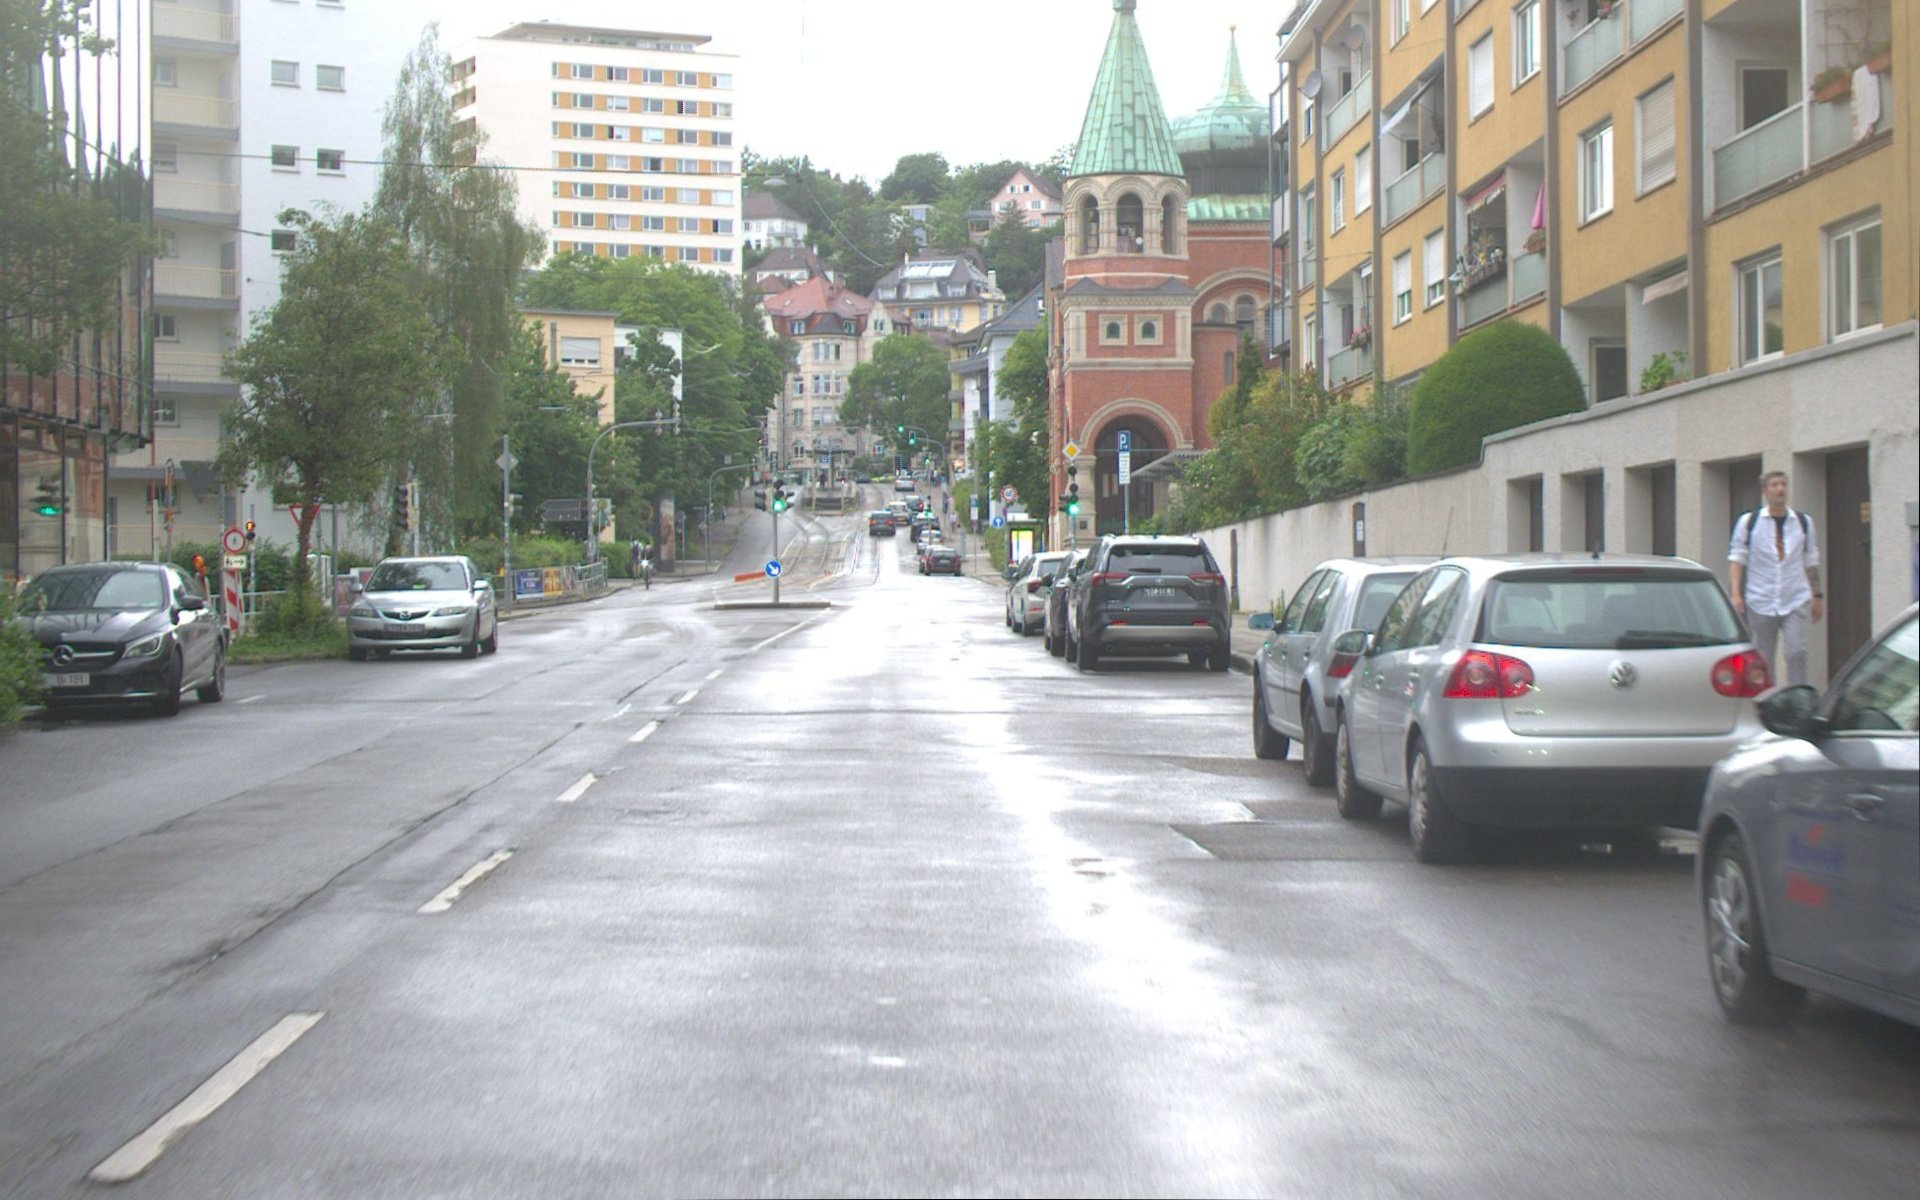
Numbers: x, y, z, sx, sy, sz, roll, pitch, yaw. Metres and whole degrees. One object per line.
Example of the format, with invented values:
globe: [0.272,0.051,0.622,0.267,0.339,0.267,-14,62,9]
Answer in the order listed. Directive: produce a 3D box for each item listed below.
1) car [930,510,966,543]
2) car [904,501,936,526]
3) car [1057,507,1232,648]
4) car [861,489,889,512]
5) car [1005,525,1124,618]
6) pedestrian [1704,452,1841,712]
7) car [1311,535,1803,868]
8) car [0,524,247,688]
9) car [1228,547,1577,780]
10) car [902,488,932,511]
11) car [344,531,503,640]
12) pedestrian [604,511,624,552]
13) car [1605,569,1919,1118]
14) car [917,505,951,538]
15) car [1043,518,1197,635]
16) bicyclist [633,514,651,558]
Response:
car: [-0.607,-3.815,177.810,1.732,1.648,4.000,0,2,2]
car: [-2.485,-5.390,214.257,1.892,1.505,4.001,1,1,-2]
car: [2.258,-0.324,43.064,1.817,1.647,4.076,1,1,-2]
car: [-5.903,-6.896,238.836,1.908,1.505,4.001,1,1,-2]
car: [1.809,-0.527,60.481,1.817,1.517,4.076,1,1,-2]
pedestrian: [5.587,-0.130,23.622,0.766,1.726,0.743,-1,3,22]
car: [2.903,0.420,17.508,1.663,1.497,3.922,0,1,-3]
car: [-8.118,0.018,33.052,1.803,1.445,4.659,-1,1,-3]
car: [2.864,0.358,23.005,1.663,1.395,3.922,0,1,-3]
car: [-2.882,-6.714,230.361,1.908,1.505,4.001,1,1,-2]
car: [-7.515,-0.233,48.463,1.709,1.445,4.295,-1,1,-2]
pedestrian: [-15.893,-3.154,157.882,0.887,1.886,0.923,0,1,-7]
car: [3.220,0.618,10.022,1.663,1.416,3.922,0,0,-5]
car: [-1.426,-4.316,189.206,1.851,1.760,4.000,1,1,0]
car: [2.187,-0.363,48.003,1.817,1.517,4.076,1,1,-2]
bicyclist: [-11.922,-2.403,128.908,0.677,1.655,0.650,0,1,-4]
